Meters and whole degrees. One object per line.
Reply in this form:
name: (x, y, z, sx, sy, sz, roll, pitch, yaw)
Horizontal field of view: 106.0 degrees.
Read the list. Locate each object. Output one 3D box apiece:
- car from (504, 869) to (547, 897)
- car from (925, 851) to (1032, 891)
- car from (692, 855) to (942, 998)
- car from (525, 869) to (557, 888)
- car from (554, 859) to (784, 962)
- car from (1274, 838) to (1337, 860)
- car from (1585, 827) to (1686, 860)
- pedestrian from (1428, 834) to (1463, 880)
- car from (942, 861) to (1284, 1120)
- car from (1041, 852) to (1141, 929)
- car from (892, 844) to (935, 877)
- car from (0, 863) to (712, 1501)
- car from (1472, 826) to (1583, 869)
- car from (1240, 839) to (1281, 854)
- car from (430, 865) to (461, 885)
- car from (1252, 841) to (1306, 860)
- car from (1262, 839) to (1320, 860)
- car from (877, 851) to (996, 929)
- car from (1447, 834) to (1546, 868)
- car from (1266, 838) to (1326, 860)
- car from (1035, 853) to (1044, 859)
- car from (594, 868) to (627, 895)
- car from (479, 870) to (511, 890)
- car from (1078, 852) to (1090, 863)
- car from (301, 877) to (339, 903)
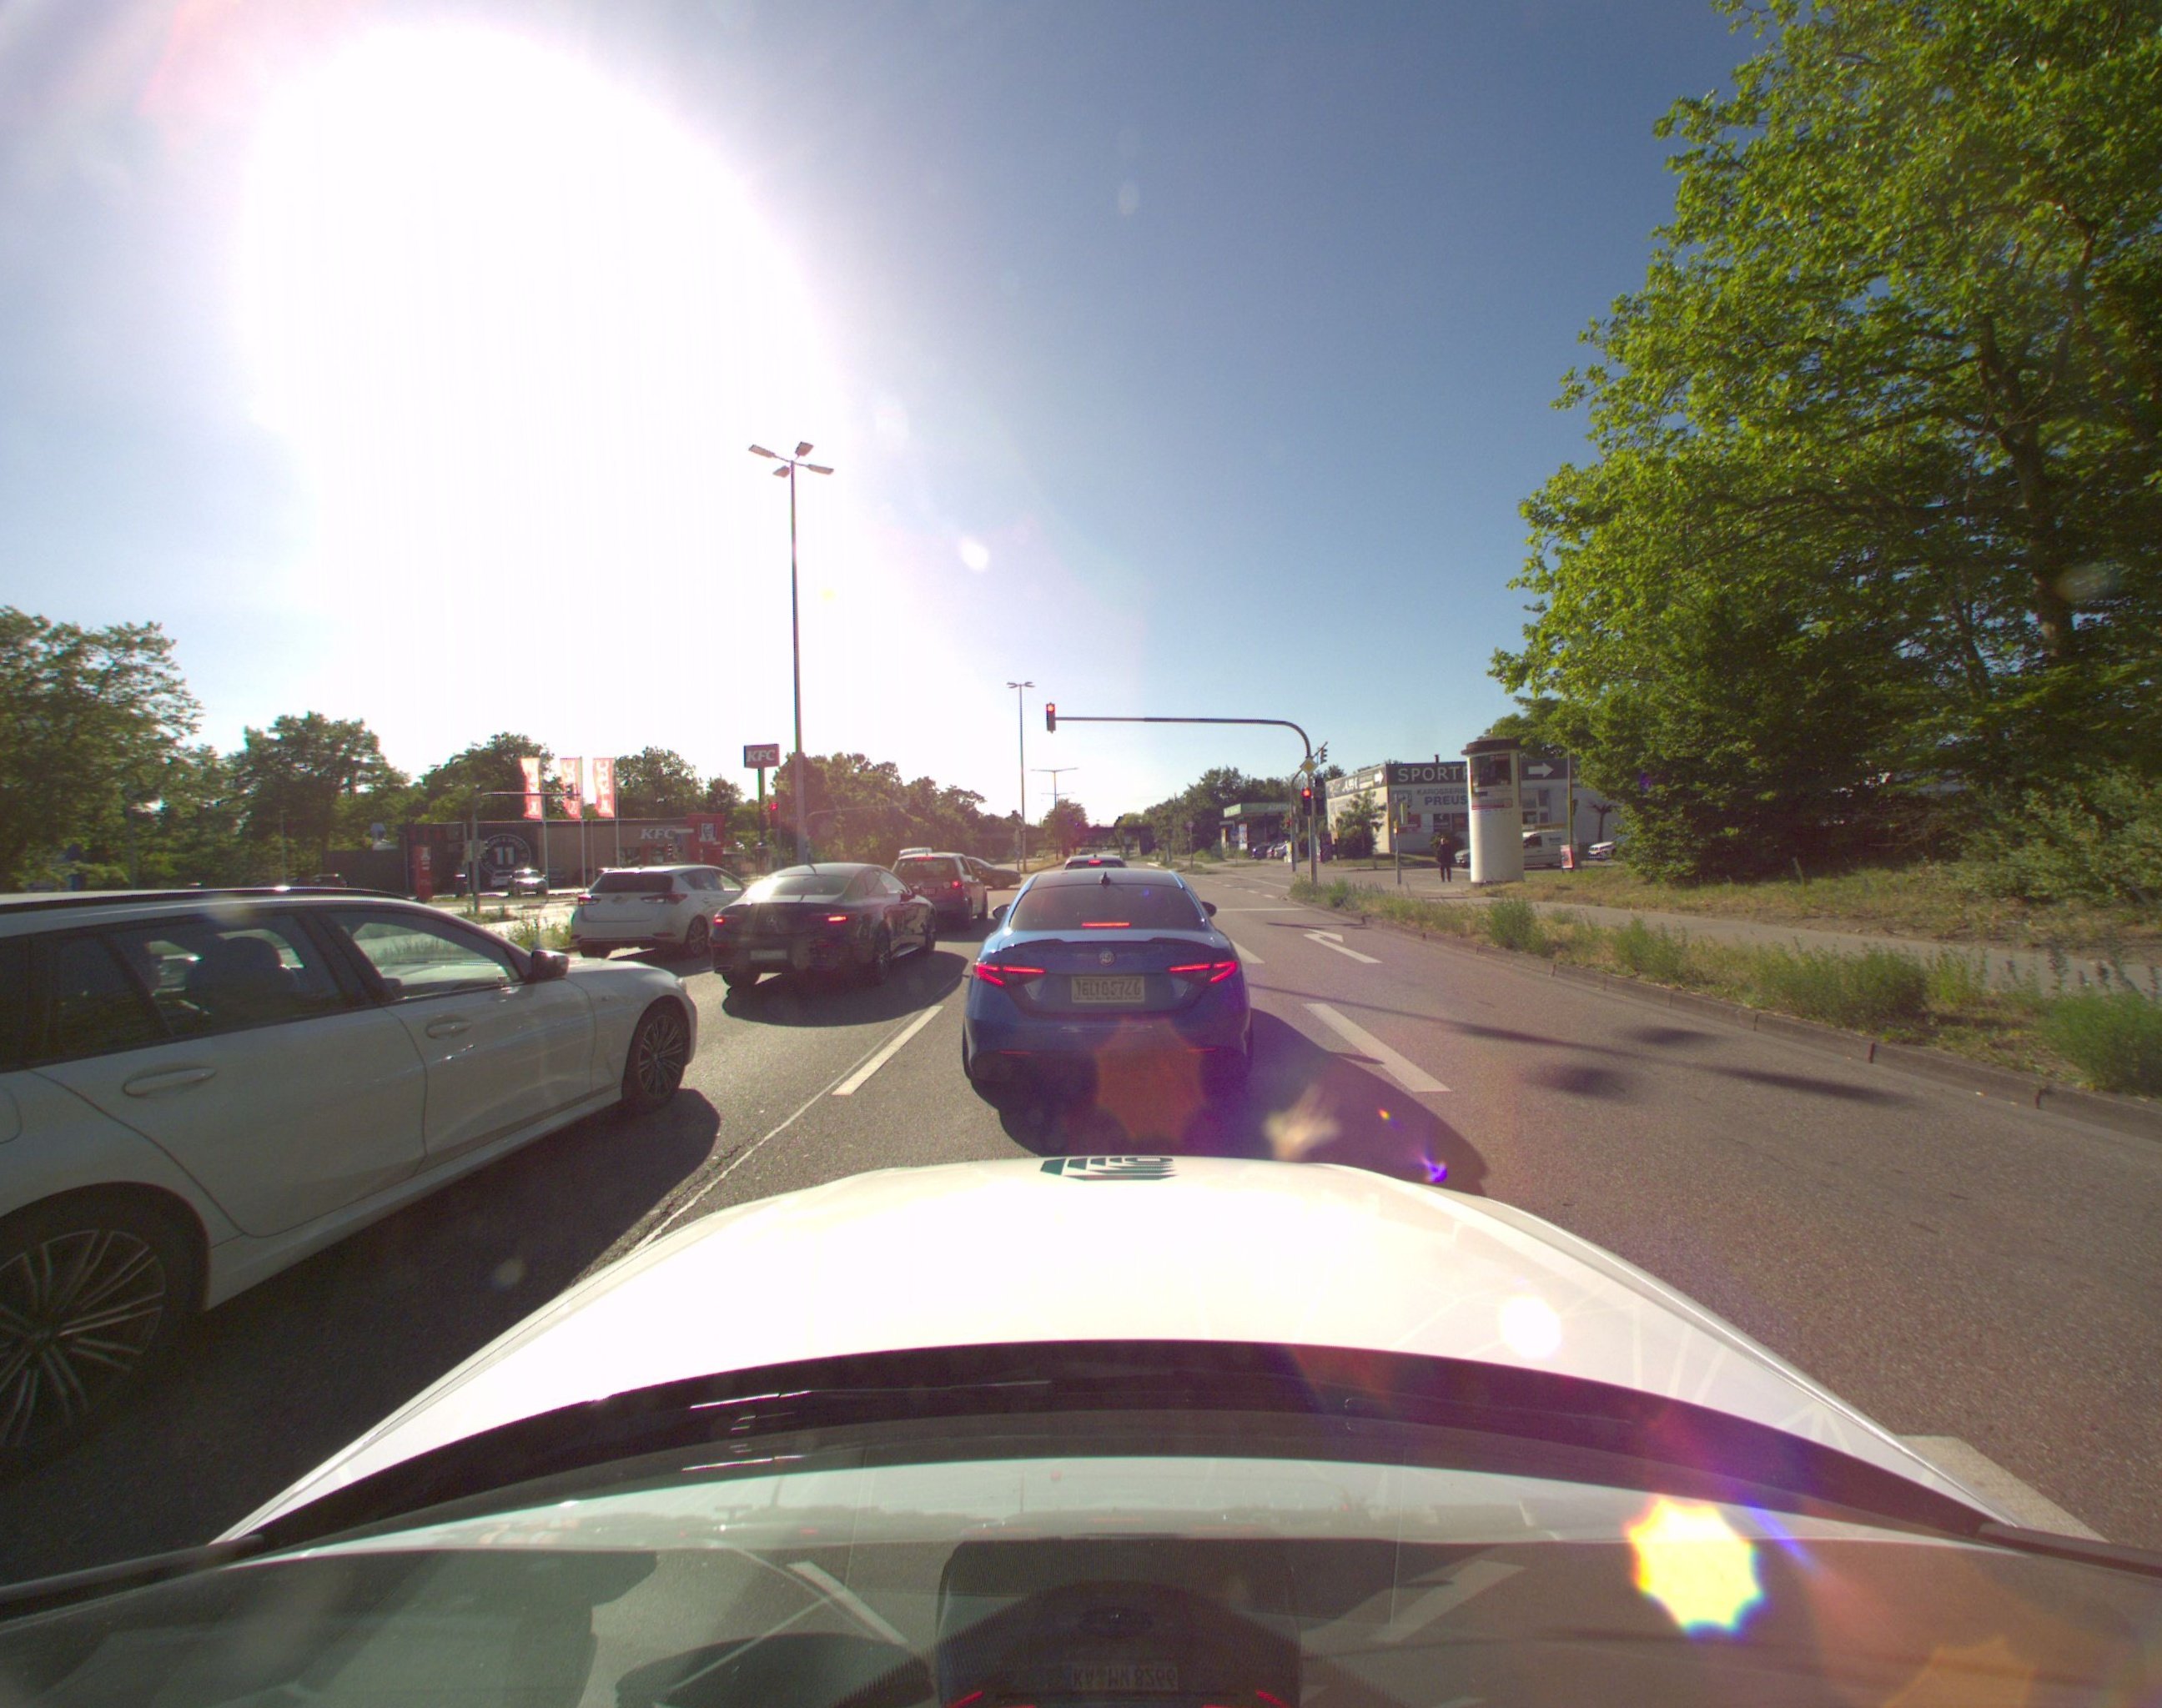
car: (-37.339, 1.938, 54.863, 2.005, 1.765, 4.315, 0, -1, -29)
car: (-4.513, 0.753, 36.261, 4.392, 1.490, 1.766, -4, 0, 3)
car: (-3.168, 0.779, 10.816, 1.790, 1.490, 4.476, 0, -1, 1)
car: (-43.150, 1.956, 65.061, 1.670, 1.471, 3.872, 0, -1, -40)
car: (-6.757, 0.844, 13.959, 1.753, 1.490, 4.197, 0, -1, 1)
car: (17.699, -0.415, 64.331, 4.470, 1.454, 1.860, -4, 0, 3)
car: (29.094, -0.534, 42.791, 4.028, 1.490, 1.782, -3, 0, -1)
pedestrian: (14.136, 0.113, 31.620, 0.922, 1.735, 0.939, 0, -1, 1)
car: (0.210, 0.772, 6.721, 1.889, 1.418, 4.403, 0, -1, 1)
car: (0.219, 0.695, 17.364, 1.844, 1.418, 4.403, 0, -1, 1)
car: (-13.733, 0.547, 67.123, 2.015, 2.447, 5.823, -5, 0, 1)
car: (-3.424, 0.798, 3.311, 1.779, 1.490, 4.403, 0, -1, 1)
car: (21.554, -0.329, 39.388, 4.367, 1.801, 1.765, -3, 1, 0)
car: (21.381, -0.867, 97.024, 4.532, 1.490, 1.766, -4, 0, 3)
car: (-47.642, 1.562, 60.991, 1.670, 1.471, 3.872, 0, -1, -40)
car: (17.940, -0.343, 73.914, 4.470, 1.454, 1.860, -4, 0, 3)
car: (17.981, -0.372, 69.860, 4.470, 1.454, 1.860, -4, 0, 3)
car: (-3.023, 0.715, 17.919, 1.753, 1.490, 4.403, 0, -1, 1)
car: (21.765, -0.190, 42.723, 4.273, 1.549, 1.765, -3, 1, 0)
car: (17.704, -0.401, 67.112, 4.470, 1.454, 1.860, -4, 0, 3)
car: (-10.637, 0.587, 209.766, 1.752, 1.490, 4.480, -3, 0, 2)
car: (-33.671, 1.933, 58.343, 1.920, 1.752, 4.315, 0, -1, -29)
car: (-45.642, 2.023, 63.407, 1.670, 1.471, 3.872, 0, -1, -40)
car: (0.501, 0.591, 139.691, 1.884, 1.816, 4.001, 0, -1, 2)
car: (-52.375, 2.461, 56.095, 1.670, 1.673, 3.897, 0, -1, -40)
